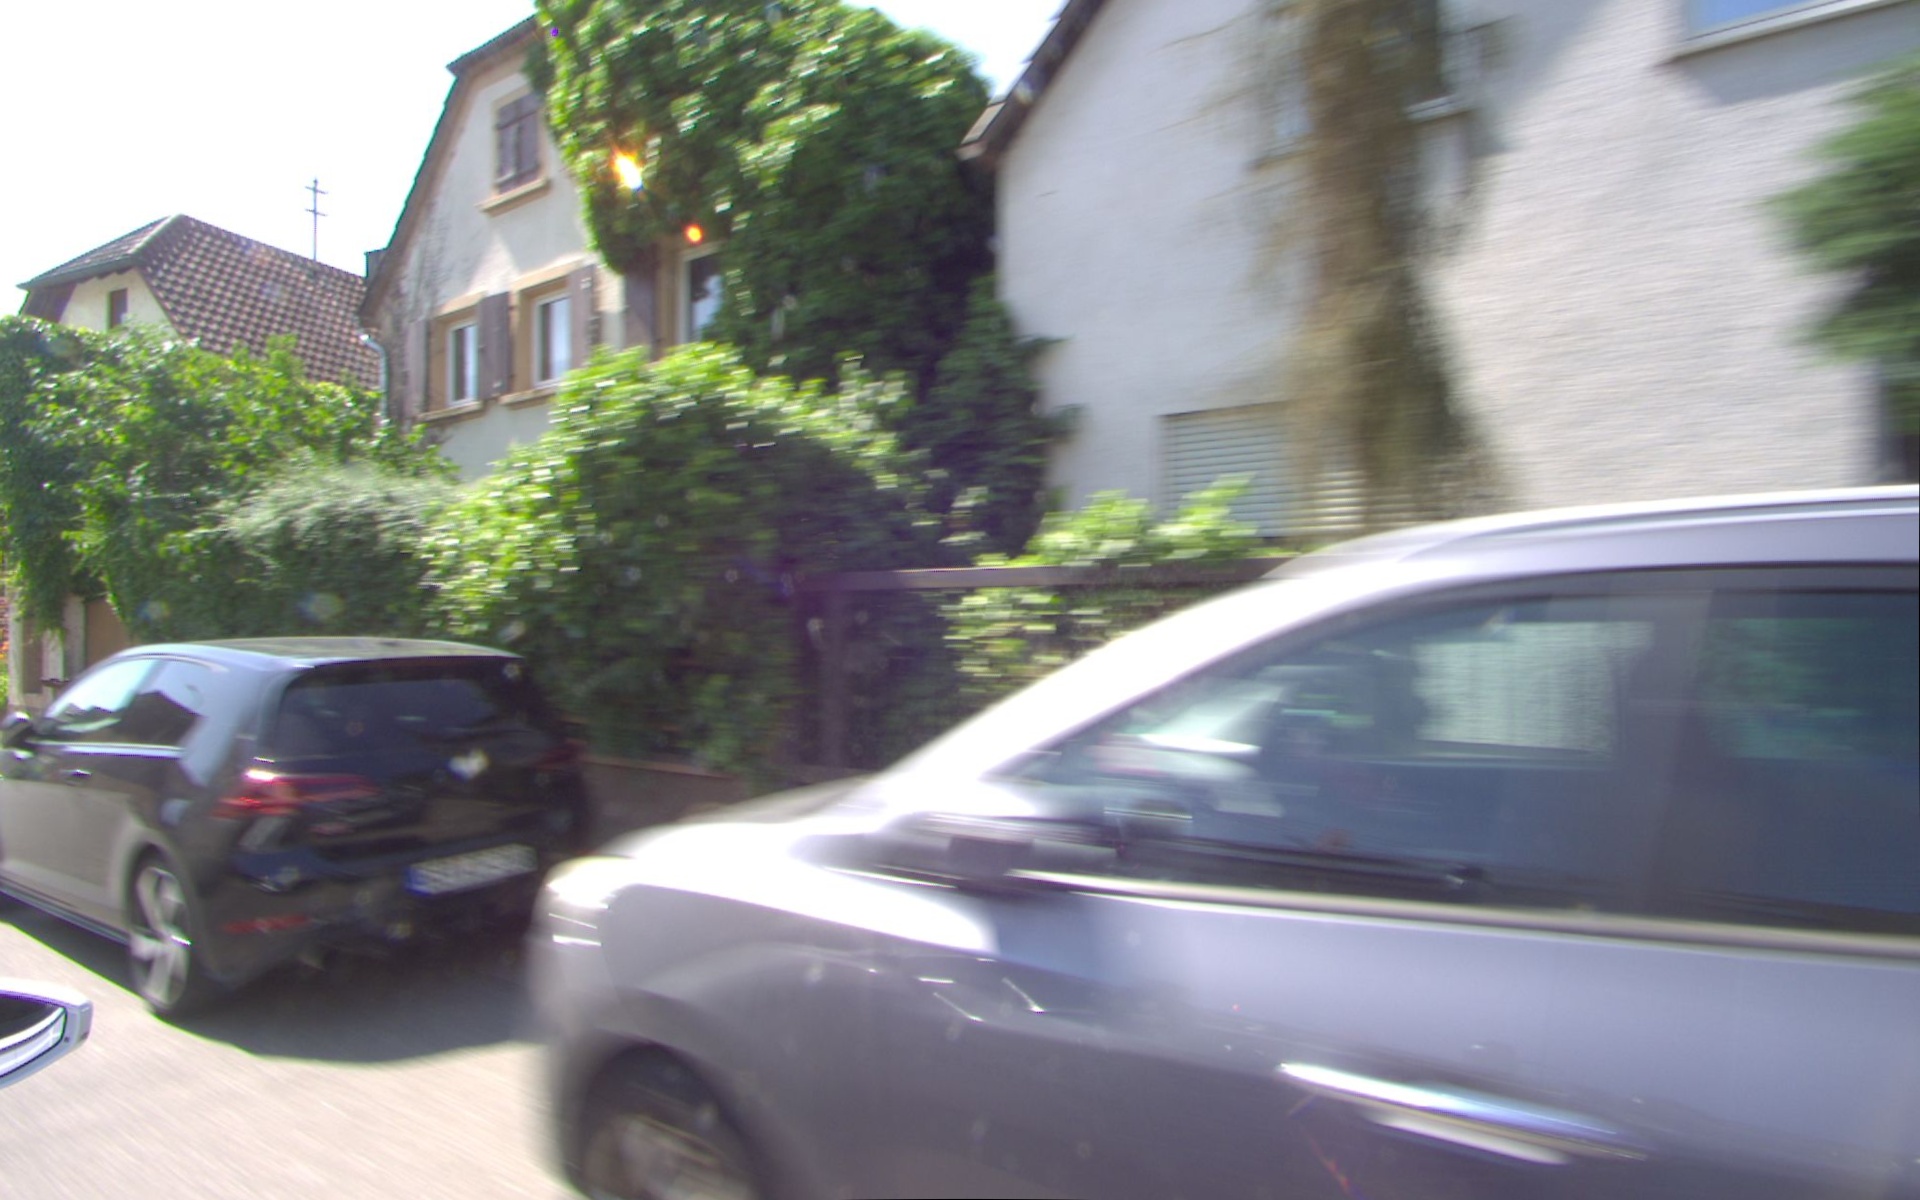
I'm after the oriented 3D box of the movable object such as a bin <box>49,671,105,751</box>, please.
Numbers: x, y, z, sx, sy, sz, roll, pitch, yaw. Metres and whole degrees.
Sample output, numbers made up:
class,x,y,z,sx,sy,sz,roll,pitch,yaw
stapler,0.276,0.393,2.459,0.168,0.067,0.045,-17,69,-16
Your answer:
class,x,y,z,sx,sy,sz,roll,pitch,yaw
movable object such as a bin,-10.813,1.353,12.266,0.432,0.924,0.411,0,0,32

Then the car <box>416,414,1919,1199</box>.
class,x,y,z,sx,sy,sz,roll,pitch,yaw
car,1.061,0.692,1.755,4.301,1.652,1.789,0,-1,34

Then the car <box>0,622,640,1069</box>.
class,x,y,z,sx,sy,sz,roll,pitch,yaw
car,-3.644,0.854,5.169,4.009,1.483,1.708,-1,-1,34
